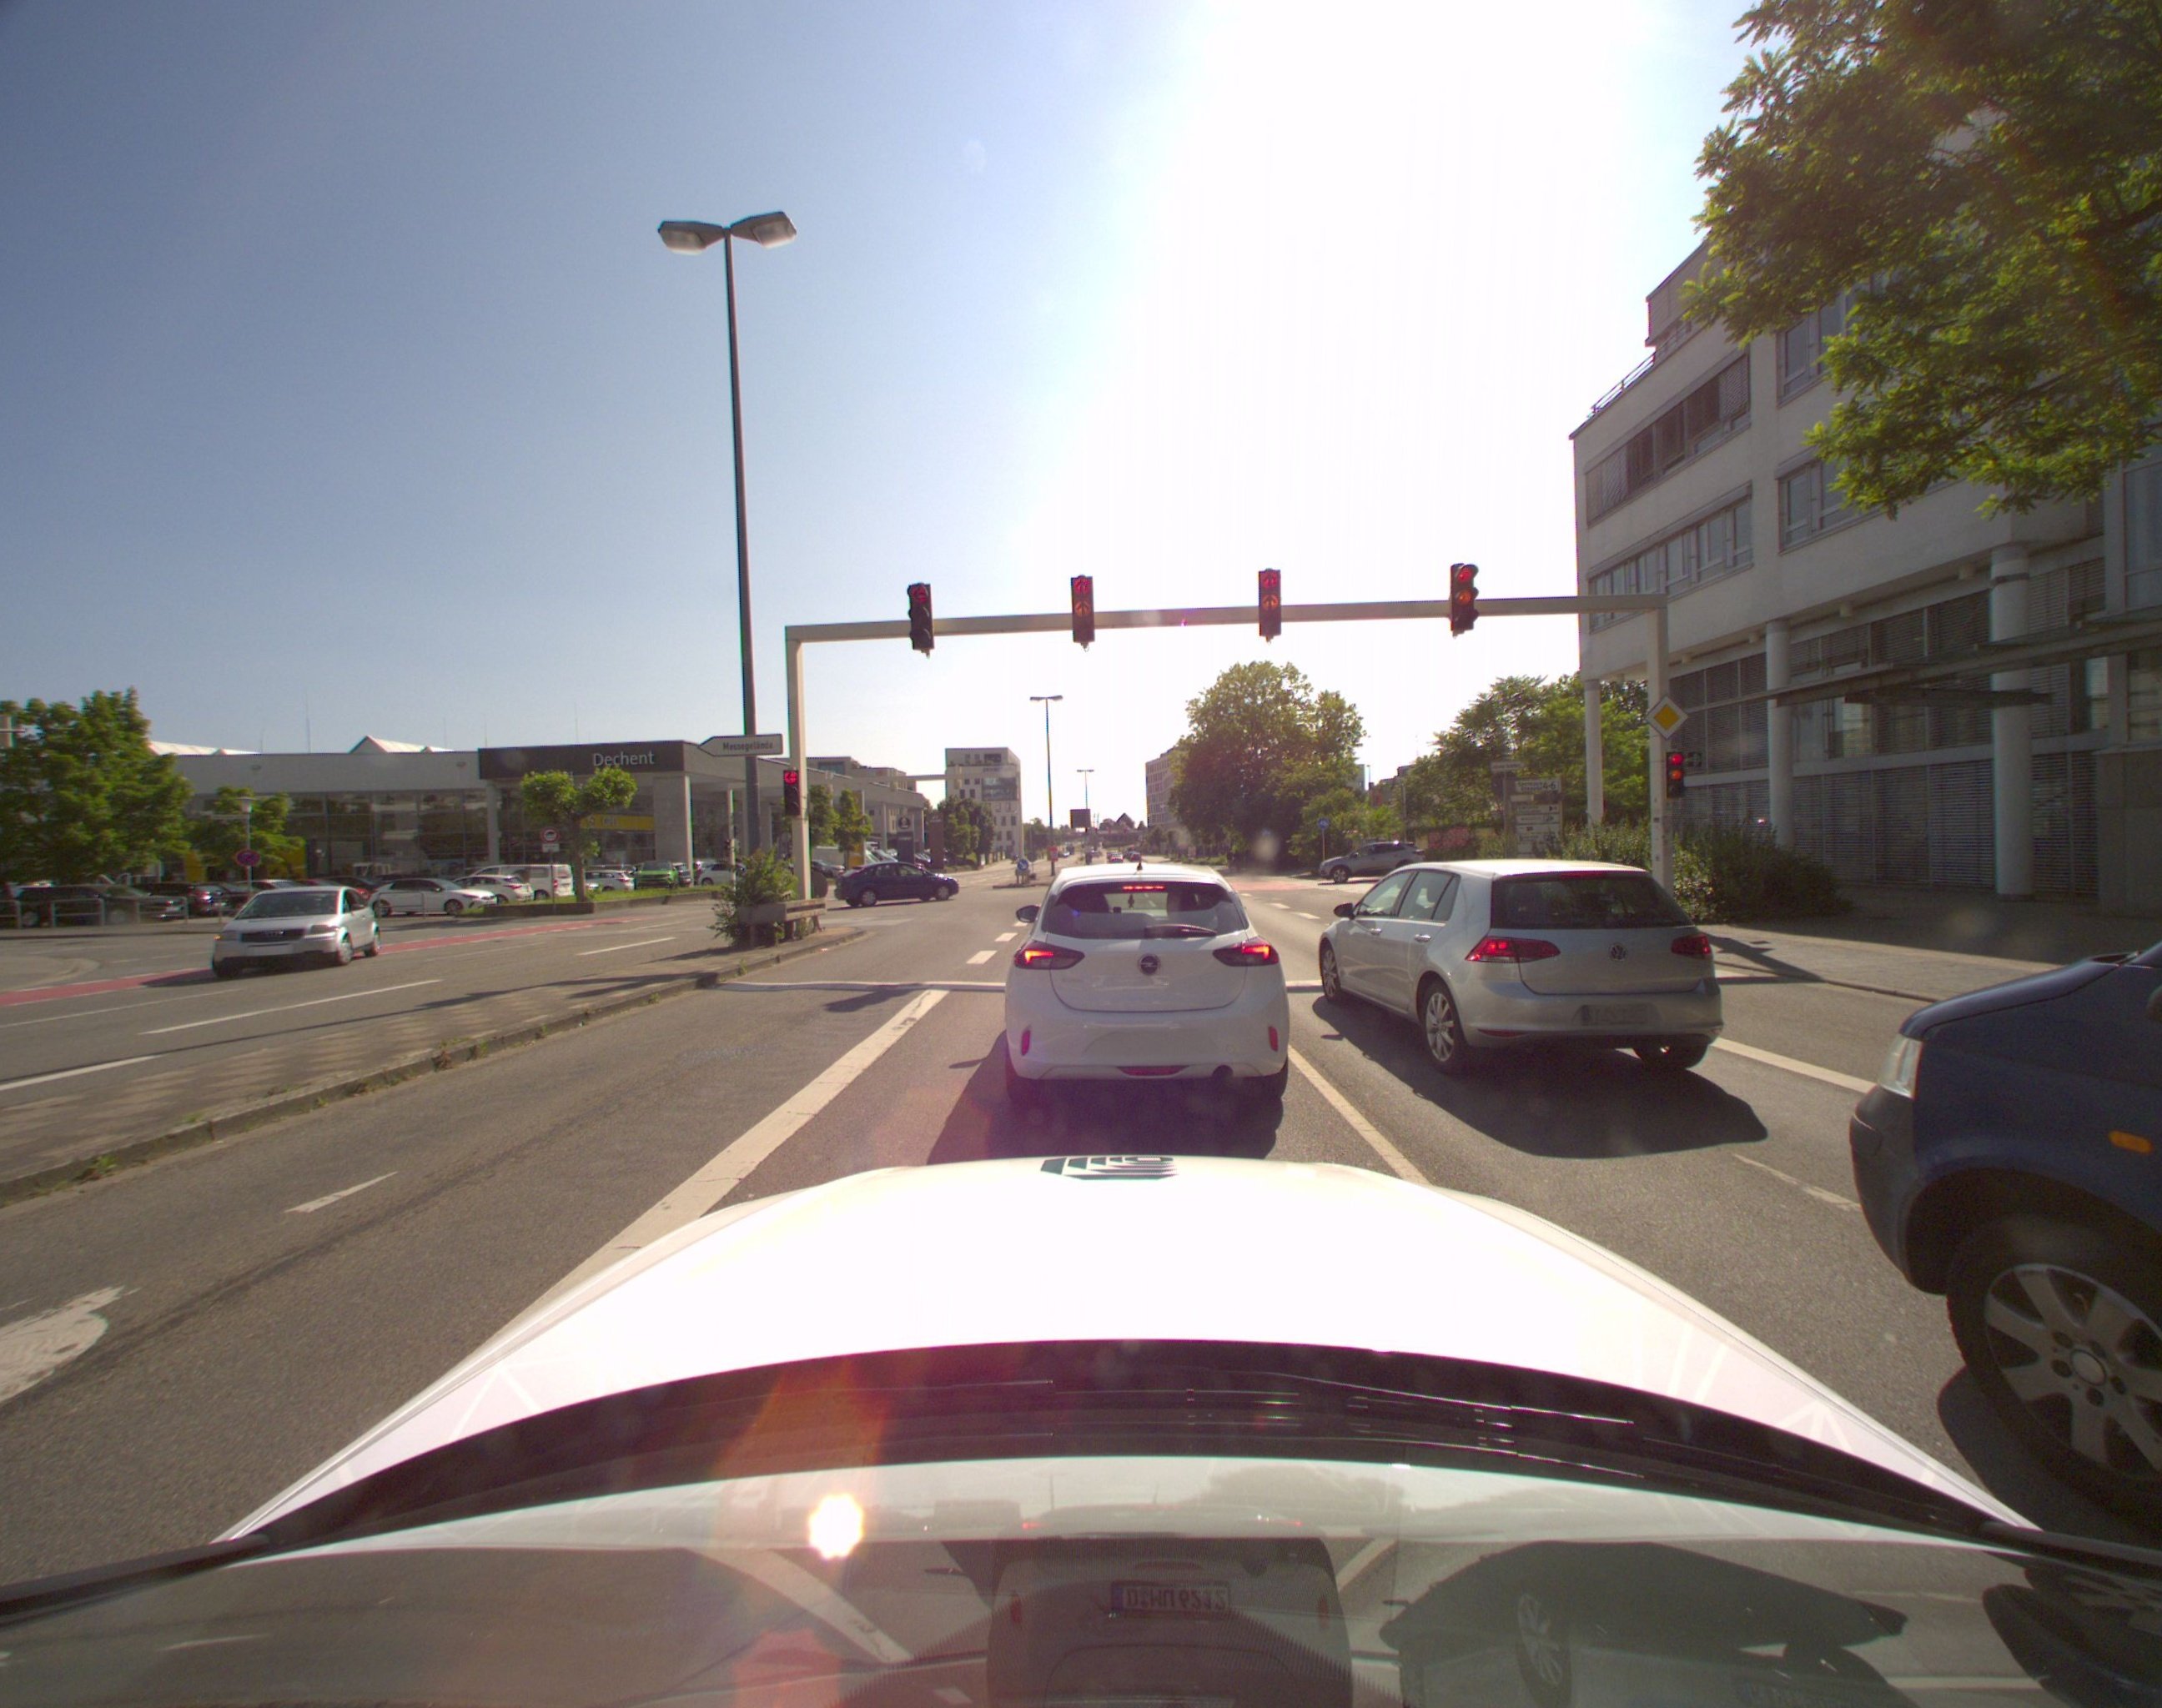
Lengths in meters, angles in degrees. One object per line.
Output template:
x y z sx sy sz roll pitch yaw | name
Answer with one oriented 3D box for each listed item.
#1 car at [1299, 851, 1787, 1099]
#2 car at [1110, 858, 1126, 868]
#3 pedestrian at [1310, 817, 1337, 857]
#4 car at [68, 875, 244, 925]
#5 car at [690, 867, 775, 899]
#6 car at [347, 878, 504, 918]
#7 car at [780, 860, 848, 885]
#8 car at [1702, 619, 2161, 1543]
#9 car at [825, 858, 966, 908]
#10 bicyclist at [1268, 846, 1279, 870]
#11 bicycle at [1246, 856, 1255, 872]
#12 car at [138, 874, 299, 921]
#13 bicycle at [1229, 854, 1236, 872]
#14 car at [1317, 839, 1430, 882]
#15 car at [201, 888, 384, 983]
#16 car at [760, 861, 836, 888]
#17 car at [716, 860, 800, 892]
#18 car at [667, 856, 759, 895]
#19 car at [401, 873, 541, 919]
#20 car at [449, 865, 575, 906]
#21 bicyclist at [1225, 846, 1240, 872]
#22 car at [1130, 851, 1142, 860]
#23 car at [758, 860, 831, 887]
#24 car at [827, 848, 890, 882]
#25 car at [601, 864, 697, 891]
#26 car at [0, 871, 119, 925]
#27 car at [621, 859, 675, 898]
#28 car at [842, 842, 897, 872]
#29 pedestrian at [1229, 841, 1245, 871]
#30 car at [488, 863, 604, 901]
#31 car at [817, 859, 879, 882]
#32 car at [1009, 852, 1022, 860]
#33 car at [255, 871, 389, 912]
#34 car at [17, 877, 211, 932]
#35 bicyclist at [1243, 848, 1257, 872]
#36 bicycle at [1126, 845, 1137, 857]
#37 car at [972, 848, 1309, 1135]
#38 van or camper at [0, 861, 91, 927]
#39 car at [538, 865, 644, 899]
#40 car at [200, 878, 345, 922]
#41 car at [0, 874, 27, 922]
3.321 0.742 6.903 1.802 1.429 3.998 -2 -1 -1 | car
4.990 1.270 109.681 1.987 1.331 3.998 0 -1 -1 | car
12.347 -0.858 41.512 1.023 2.013 1.039 -2 0 1 | pedestrian
-36.211 1.765 31.993 4.348 1.696 1.997 -2 0 -4 | car
-20.036 1.650 46.941 3.981 1.599 1.996 -2 0 -6 | car
-25.541 1.681 31.860 4.348 1.300 1.997 -2 0 -4 | car
-19.671 1.361 60.157 4.344 1.696 1.999 -2 0 -1 | car
3.218 0.445 0.499 1.986 1.948 4.892 -2 -1 2 | car
-6.457 0.963 28.470 4.385 1.447 1.980 -2 0 -31 | car
13.564 0.296 57.477 0.650 1.637 0.660 0 -1 2 | bicyclist
11.884 0.690 57.085 0.372 1.147 1.034 0 -1 0 | bicycle
-36.169 1.797 34.258 4.348 1.696 1.997 -2 0 -4 | car
10.745 0.642 57.801 0.371 1.216 1.154 0 0 2 | bicycle
12.524 0.291 35.077 4.383 1.551 2.010 -3 -1 19 | car
-15.049 1.452 15.787 1.784 1.438 3.875 -2 0 -33 | car
-18.987 1.351 54.708 4.343 1.696 1.999 -2 0 -1 | car
-19.607 1.315 49.582 4.284 1.765 1.999 -2 0 -1 | car
-19.263 1.091 42.778 3.859 1.837 1.999 -2 0 -1 | car
-26.179 1.773 35.062 4.348 1.696 1.997 -2 0 -4 | car
-26.572 1.440 38.172 4.353 1.696 1.995 -2 0 -7 | car
10.758 0.357 57.808 0.876 1.772 0.864 -2 0 1 | bicyclist
9.091 0.252 135.254 1.799 1.386 4.001 0 -1 2 | car
-20.019 1.380 57.129 4.344 1.696 1.999 -2 0 -1 | car
-18.668 0.943 68.386 4.469 2.684 2.134 -2 0 10 | car
-24.707 1.372 46.679 4.352 1.268 1.995 -3 -2 -7 | car
-43.166 1.819 33.697 3.984 2.013 1.995 -2 0 -8 | car
-21.257 1.216 39.956 1.915 1.733 3.258 -2 -1 -35 | car
-19.102 0.268 73.687 4.334 2.601 2.004 -2 0 6 | car
11.848 0.133 61.850 1.023 2.238 1.039 -2 0 1 | pedestrian
-26.737 1.380 40.841 4.353 1.696 1.995 -2 0 -7 | car
-18.812 1.346 65.934 4.340 1.696 2.001 -2 0 1 | car
-11.524 0.349 142.659 1.799 1.386 4.001 0 -1 2 | car
-36.623 1.774 39.414 4.352 1.696 1.995 -2 0 -7 | car
-34.880 1.805 29.495 4.348 1.696 1.997 -2 0 -4 | car
11.852 0.437 57.071 0.687 1.643 0.775 -2 0 -7 | bicyclist
9.654 -0.507 155.584 1.986 2.157 4.001 -2 0 1 | bicycle
0.375 0.742 6.400 1.773 1.494 4.001 -2 0 2 | car
-41.951 1.570 31.339 4.711 2.400 1.995 -2 0 -8 | van or camper
-26.162 1.493 43.585 4.352 1.591 1.996 -2 0 -7 | car
-36.640 2.056 37.014 4.348 1.696 1.997 -2 0 -4 | car
-40.612 1.634 28.332 4.371 1.696 1.987 -2 0 -20 | car
